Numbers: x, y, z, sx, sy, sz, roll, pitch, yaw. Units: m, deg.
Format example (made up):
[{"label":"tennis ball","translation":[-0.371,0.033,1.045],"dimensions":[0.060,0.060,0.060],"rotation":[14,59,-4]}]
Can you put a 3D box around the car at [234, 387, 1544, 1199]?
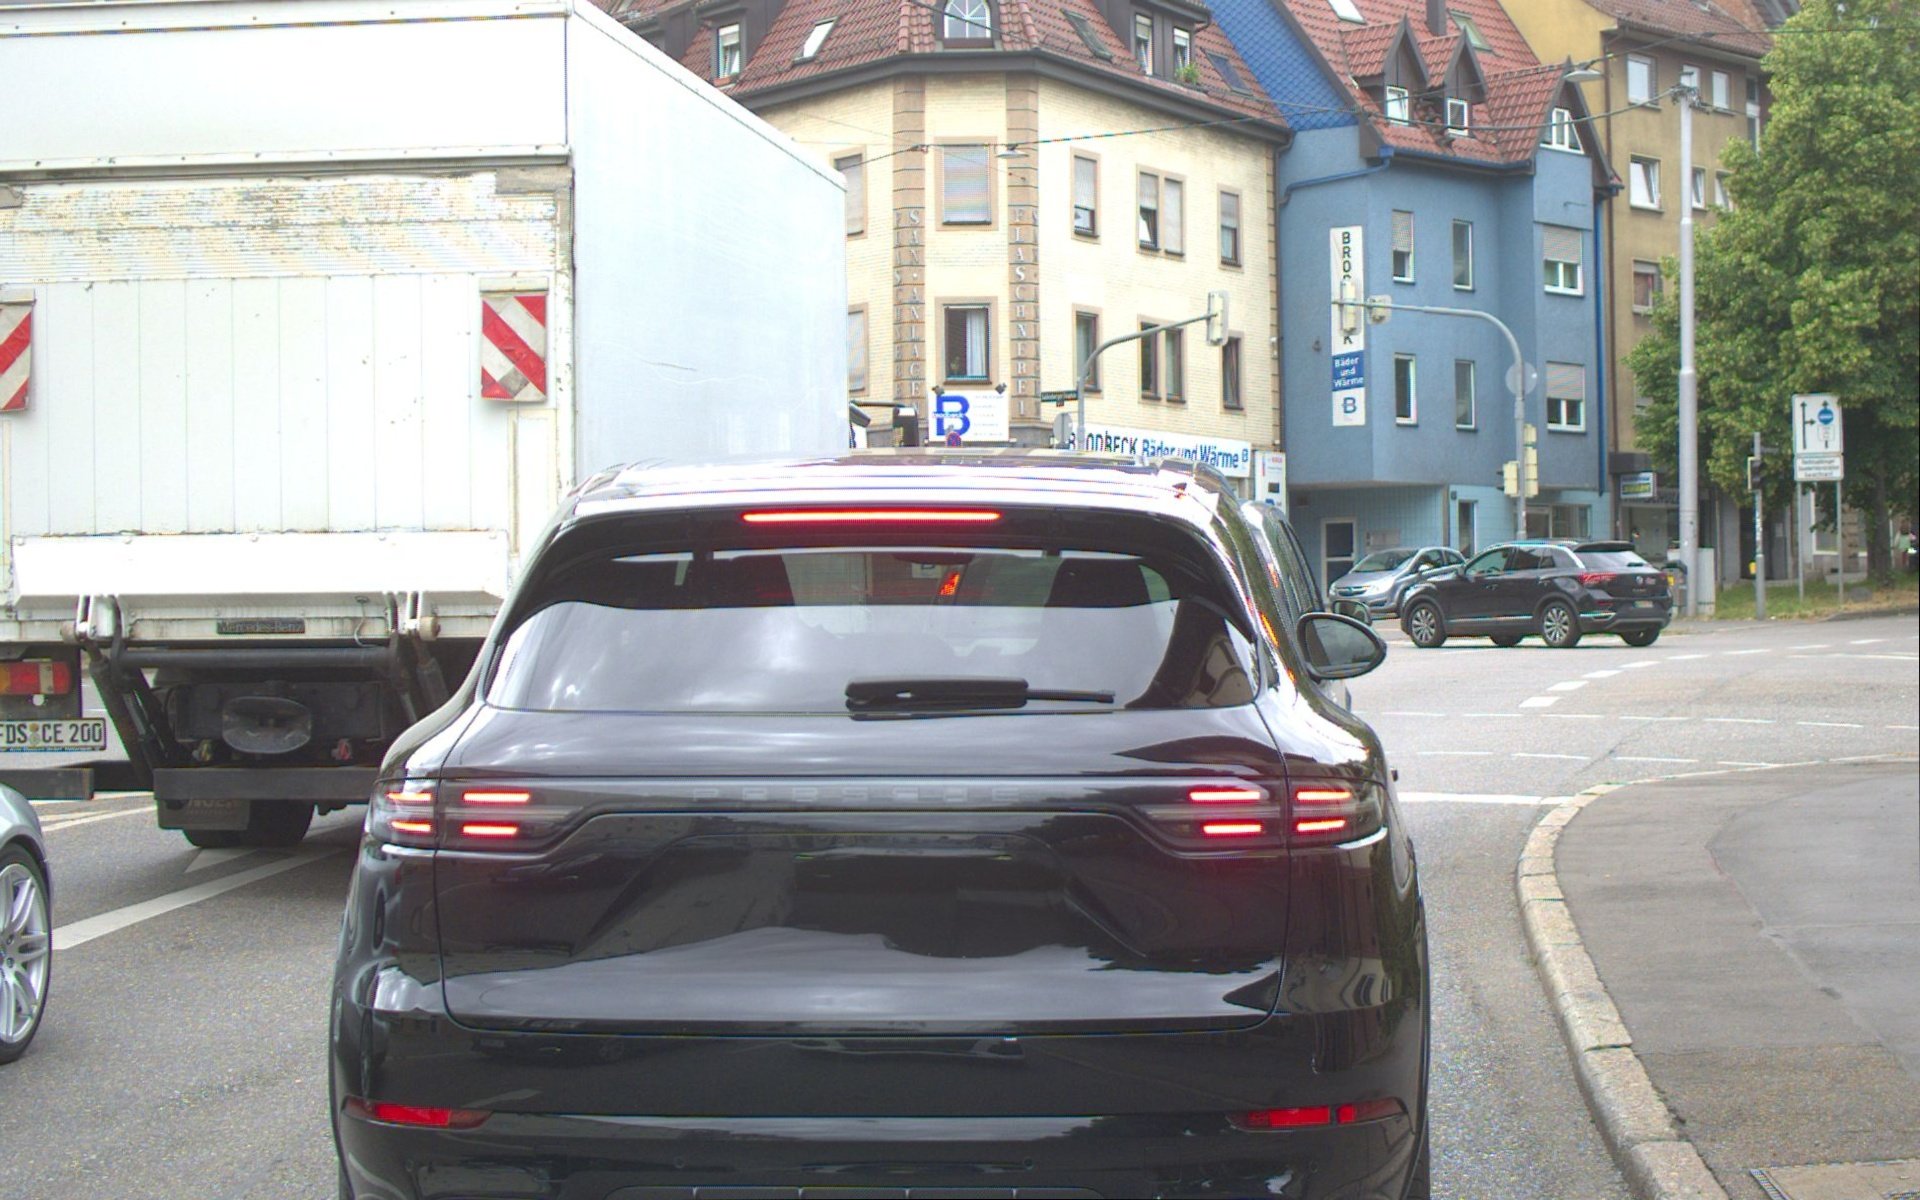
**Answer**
[{"label":"car","translation":[-0.139,0.508,7.626],"dimensions":[2.031,1.717,4.500],"rotation":[1,1,-1]}]

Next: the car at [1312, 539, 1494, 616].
[{"label":"car","translation":[9.196,-0.442,71.117],"dimensions":[1.720,1.471,4.208],"rotation":[0,-1,40]}]

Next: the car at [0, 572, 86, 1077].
[{"label":"car","translation":[-3.509,0.654,8.037],"dimensions":[1.629,1.360,4.128],"rotation":[-1,1,4]}]

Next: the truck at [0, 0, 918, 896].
[{"label":"truck","translation":[-2.222,-0.717,17.331],"dimensions":[2.726,3.532,8.419],"rotation":[-1,1,8]}]

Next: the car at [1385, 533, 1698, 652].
[{"label":"car","translation":[8.106,-0.130,48.167],"dimensions":[1.994,1.525,3.999],"rotation":[0,2,-38]}]

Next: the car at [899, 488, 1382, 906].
[{"label":"car","translation":[0.893,0.347,14.801],"dimensions":[1.649,1.550,3.581],"rotation":[1,1,10]}]

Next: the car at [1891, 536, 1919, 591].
[{"label":"car","translation":[26.494,-0.940,90.662],"dimensions":[1.874,1.411,4.687],"rotation":[1,1,41]}]
